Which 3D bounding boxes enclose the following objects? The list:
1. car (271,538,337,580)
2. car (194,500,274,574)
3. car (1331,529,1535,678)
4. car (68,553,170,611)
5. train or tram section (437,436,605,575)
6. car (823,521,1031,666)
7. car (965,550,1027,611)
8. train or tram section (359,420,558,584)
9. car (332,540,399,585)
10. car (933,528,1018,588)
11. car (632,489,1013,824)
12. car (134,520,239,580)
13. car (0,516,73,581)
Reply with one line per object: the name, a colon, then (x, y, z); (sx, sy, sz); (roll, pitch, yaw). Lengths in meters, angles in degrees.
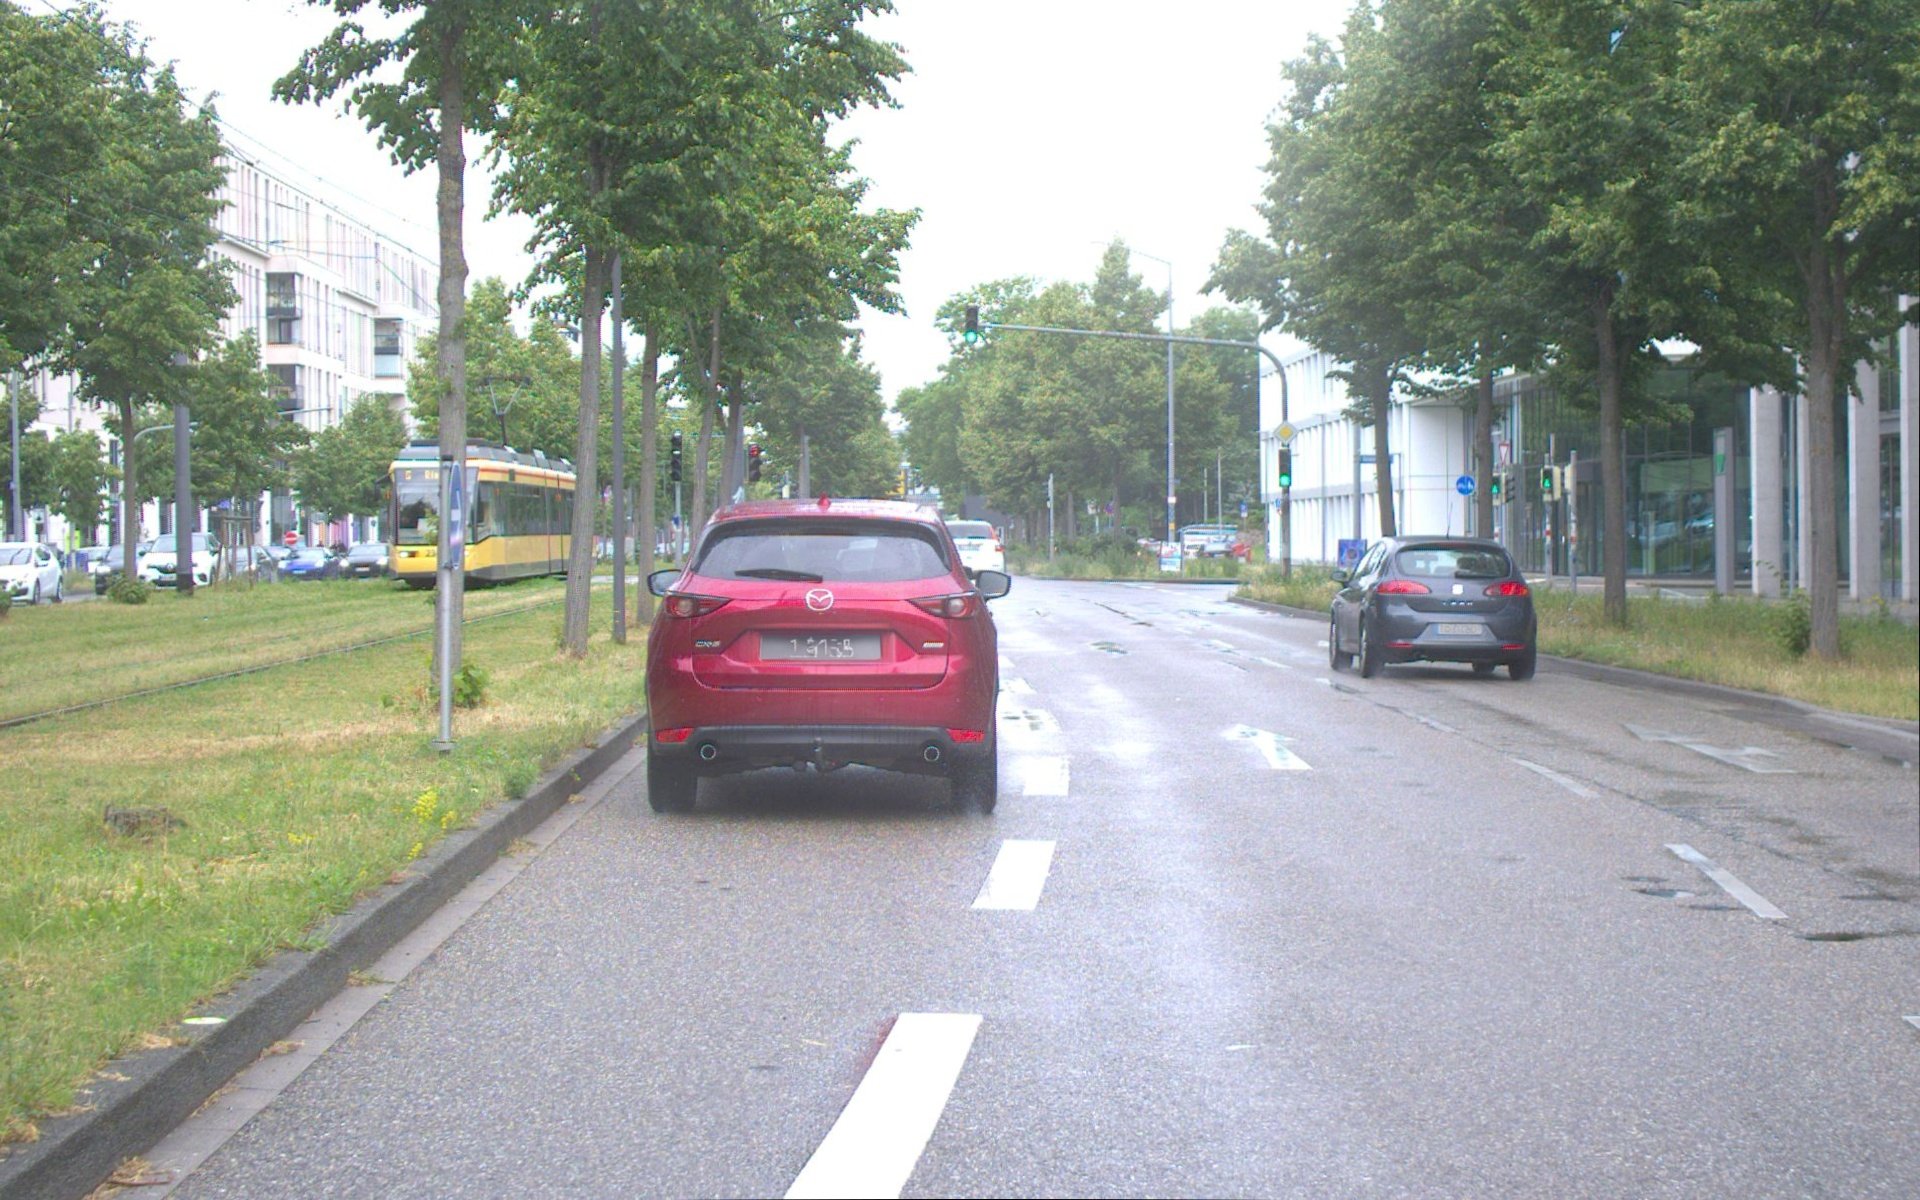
car: (-25.947, -1.643, 136.075); (1.993, 1.612, 4.001); (0, 1, -3)
car: (-25.617, -2.226, 121.460); (2.255, 2.553, 4.656); (0, 1, -5)
car: (4.857, -0.004, 35.710); (1.744, 1.460, 3.781); (0, 1, 2)
car: (-23.402, -0.526, 95.778); (1.884, 1.454, 4.000); (2, 1, -1)
train or tram section: (-12.305, -2.655, 97.775); (3.128, 3.646, 15.066); (0, 1, -1)
car: (-0.294, -0.111, 36.765); (1.960, 1.460, 3.781); (0, 1, 4)
car: (1.214, -0.681, 117.240); (1.993, 2.007, 4.000); (0, 1, -1)
train or tram section: (-11.988, -2.344, 83.504); (3.128, 3.646, 13.408); (0, 1, -1)
car: (-22.353, -1.424, 129.355); (1.993, 1.612, 4.001); (0, 1, -3)
car: (0.412, -1.086, 87.164); (1.967, 1.432, 4.552); (1, 1, 2)
car: (-0.743, 0.236, 19.164); (1.898, 1.671, 4.001); (0, 1, -2)
car: (-18.768, -1.233, 83.568); (1.710, 1.399, 4.000); (0, 1, -1)
car: (-21.861, -1.200, 79.195); (1.884, 1.454, 4.000); (0, 1, -1)
